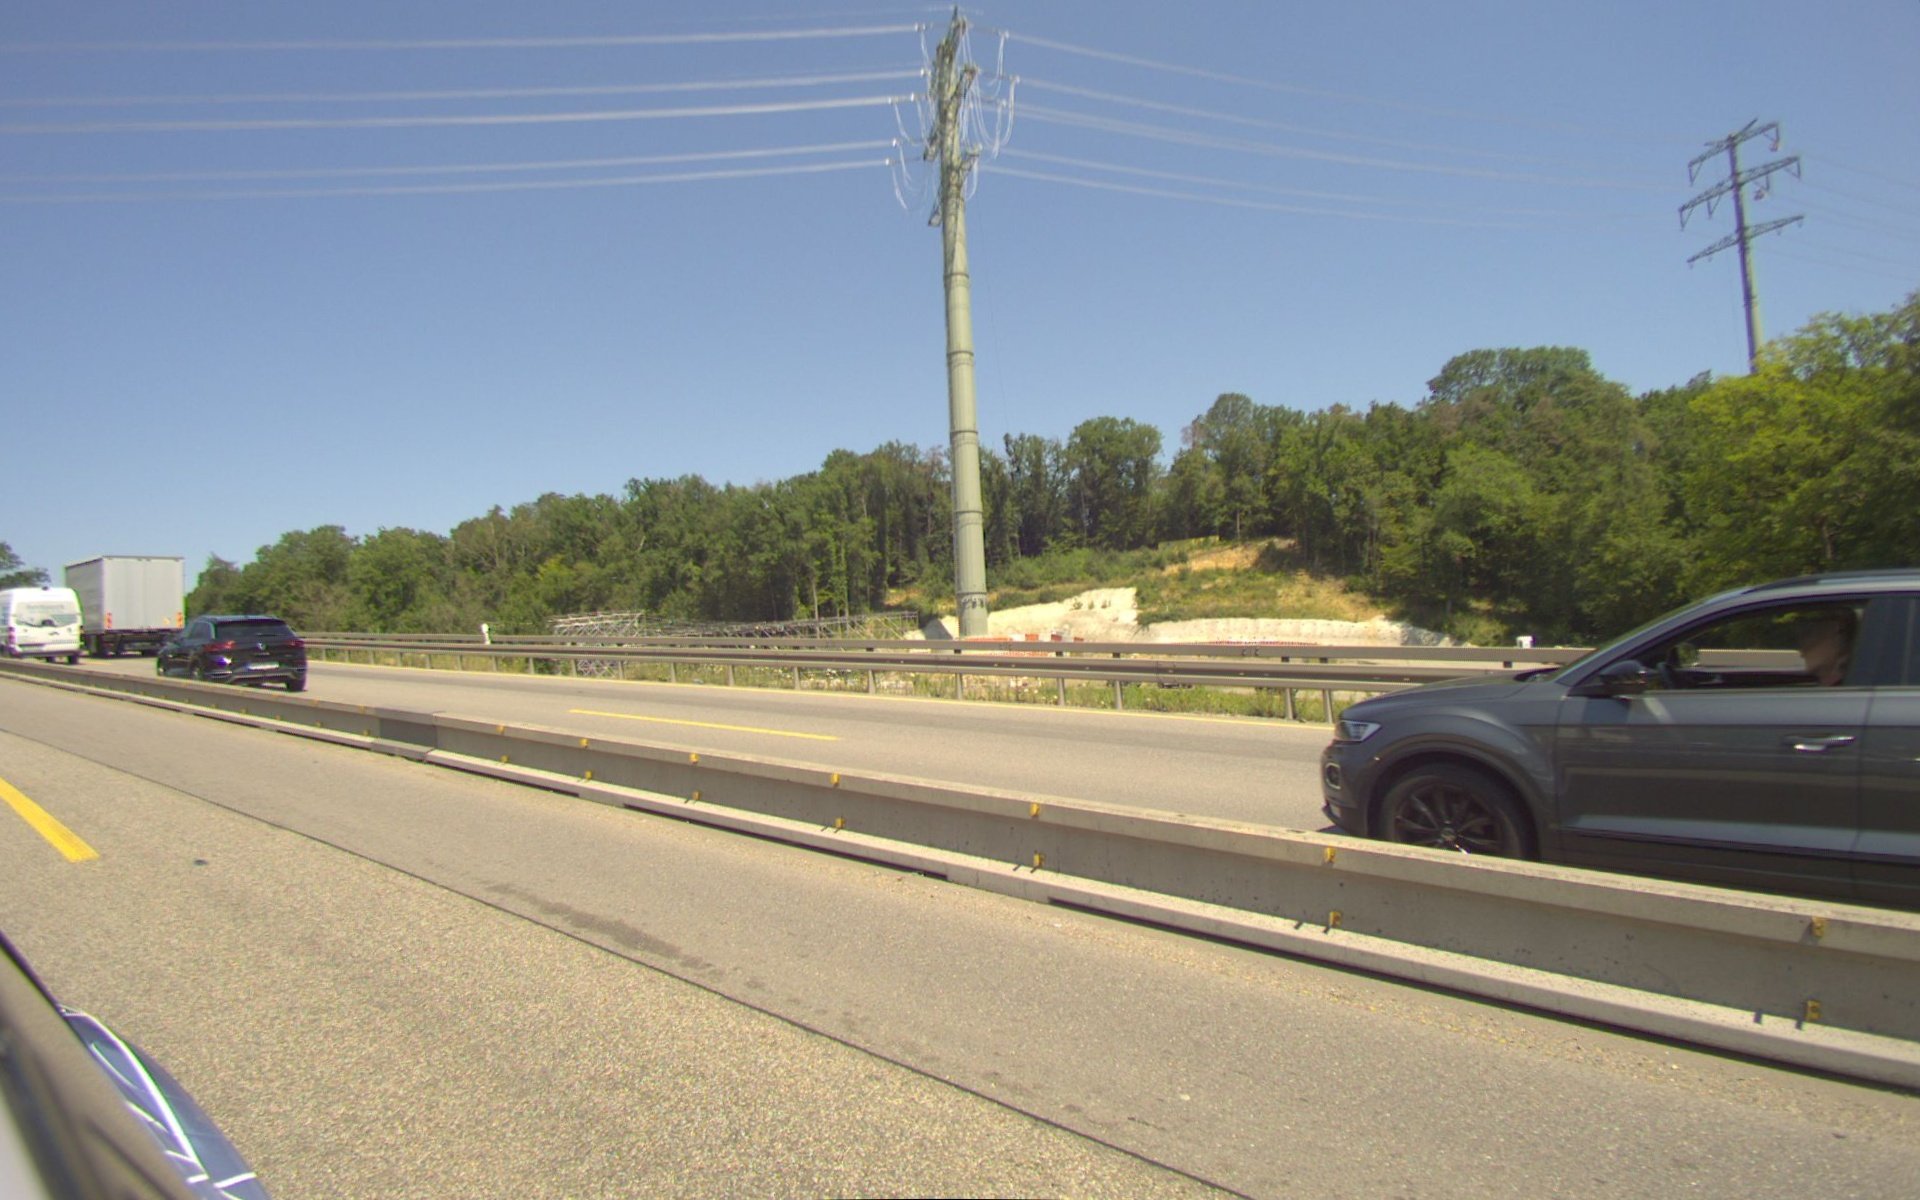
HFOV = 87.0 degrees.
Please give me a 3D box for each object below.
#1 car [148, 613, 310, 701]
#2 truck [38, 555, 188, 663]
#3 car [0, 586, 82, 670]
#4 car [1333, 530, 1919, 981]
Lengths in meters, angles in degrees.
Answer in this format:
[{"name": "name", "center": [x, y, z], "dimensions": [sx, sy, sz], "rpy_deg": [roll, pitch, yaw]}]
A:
[{"name": "car", "center": [-14.776, 1.093, 20.396], "dimensions": [4.033, 1.563, 1.712], "rpy_deg": [-2, 0, 40]}, {"name": "truck", "center": [-35.307, 0.360, 41.975], "dimensions": [10.540, 4.030, 2.773], "rpy_deg": [-1, 0, 39]}, {"name": "car", "center": [-32.682, 0.908, 35.301], "dimensions": [6.653, 2.700, 1.951], "rpy_deg": [-1, 0, 39]}, {"name": "car", "center": [3.971, 0.562, 4.459], "dimensions": [4.000, 1.654, 1.720], "rpy_deg": [-1, 0, 42]}]
